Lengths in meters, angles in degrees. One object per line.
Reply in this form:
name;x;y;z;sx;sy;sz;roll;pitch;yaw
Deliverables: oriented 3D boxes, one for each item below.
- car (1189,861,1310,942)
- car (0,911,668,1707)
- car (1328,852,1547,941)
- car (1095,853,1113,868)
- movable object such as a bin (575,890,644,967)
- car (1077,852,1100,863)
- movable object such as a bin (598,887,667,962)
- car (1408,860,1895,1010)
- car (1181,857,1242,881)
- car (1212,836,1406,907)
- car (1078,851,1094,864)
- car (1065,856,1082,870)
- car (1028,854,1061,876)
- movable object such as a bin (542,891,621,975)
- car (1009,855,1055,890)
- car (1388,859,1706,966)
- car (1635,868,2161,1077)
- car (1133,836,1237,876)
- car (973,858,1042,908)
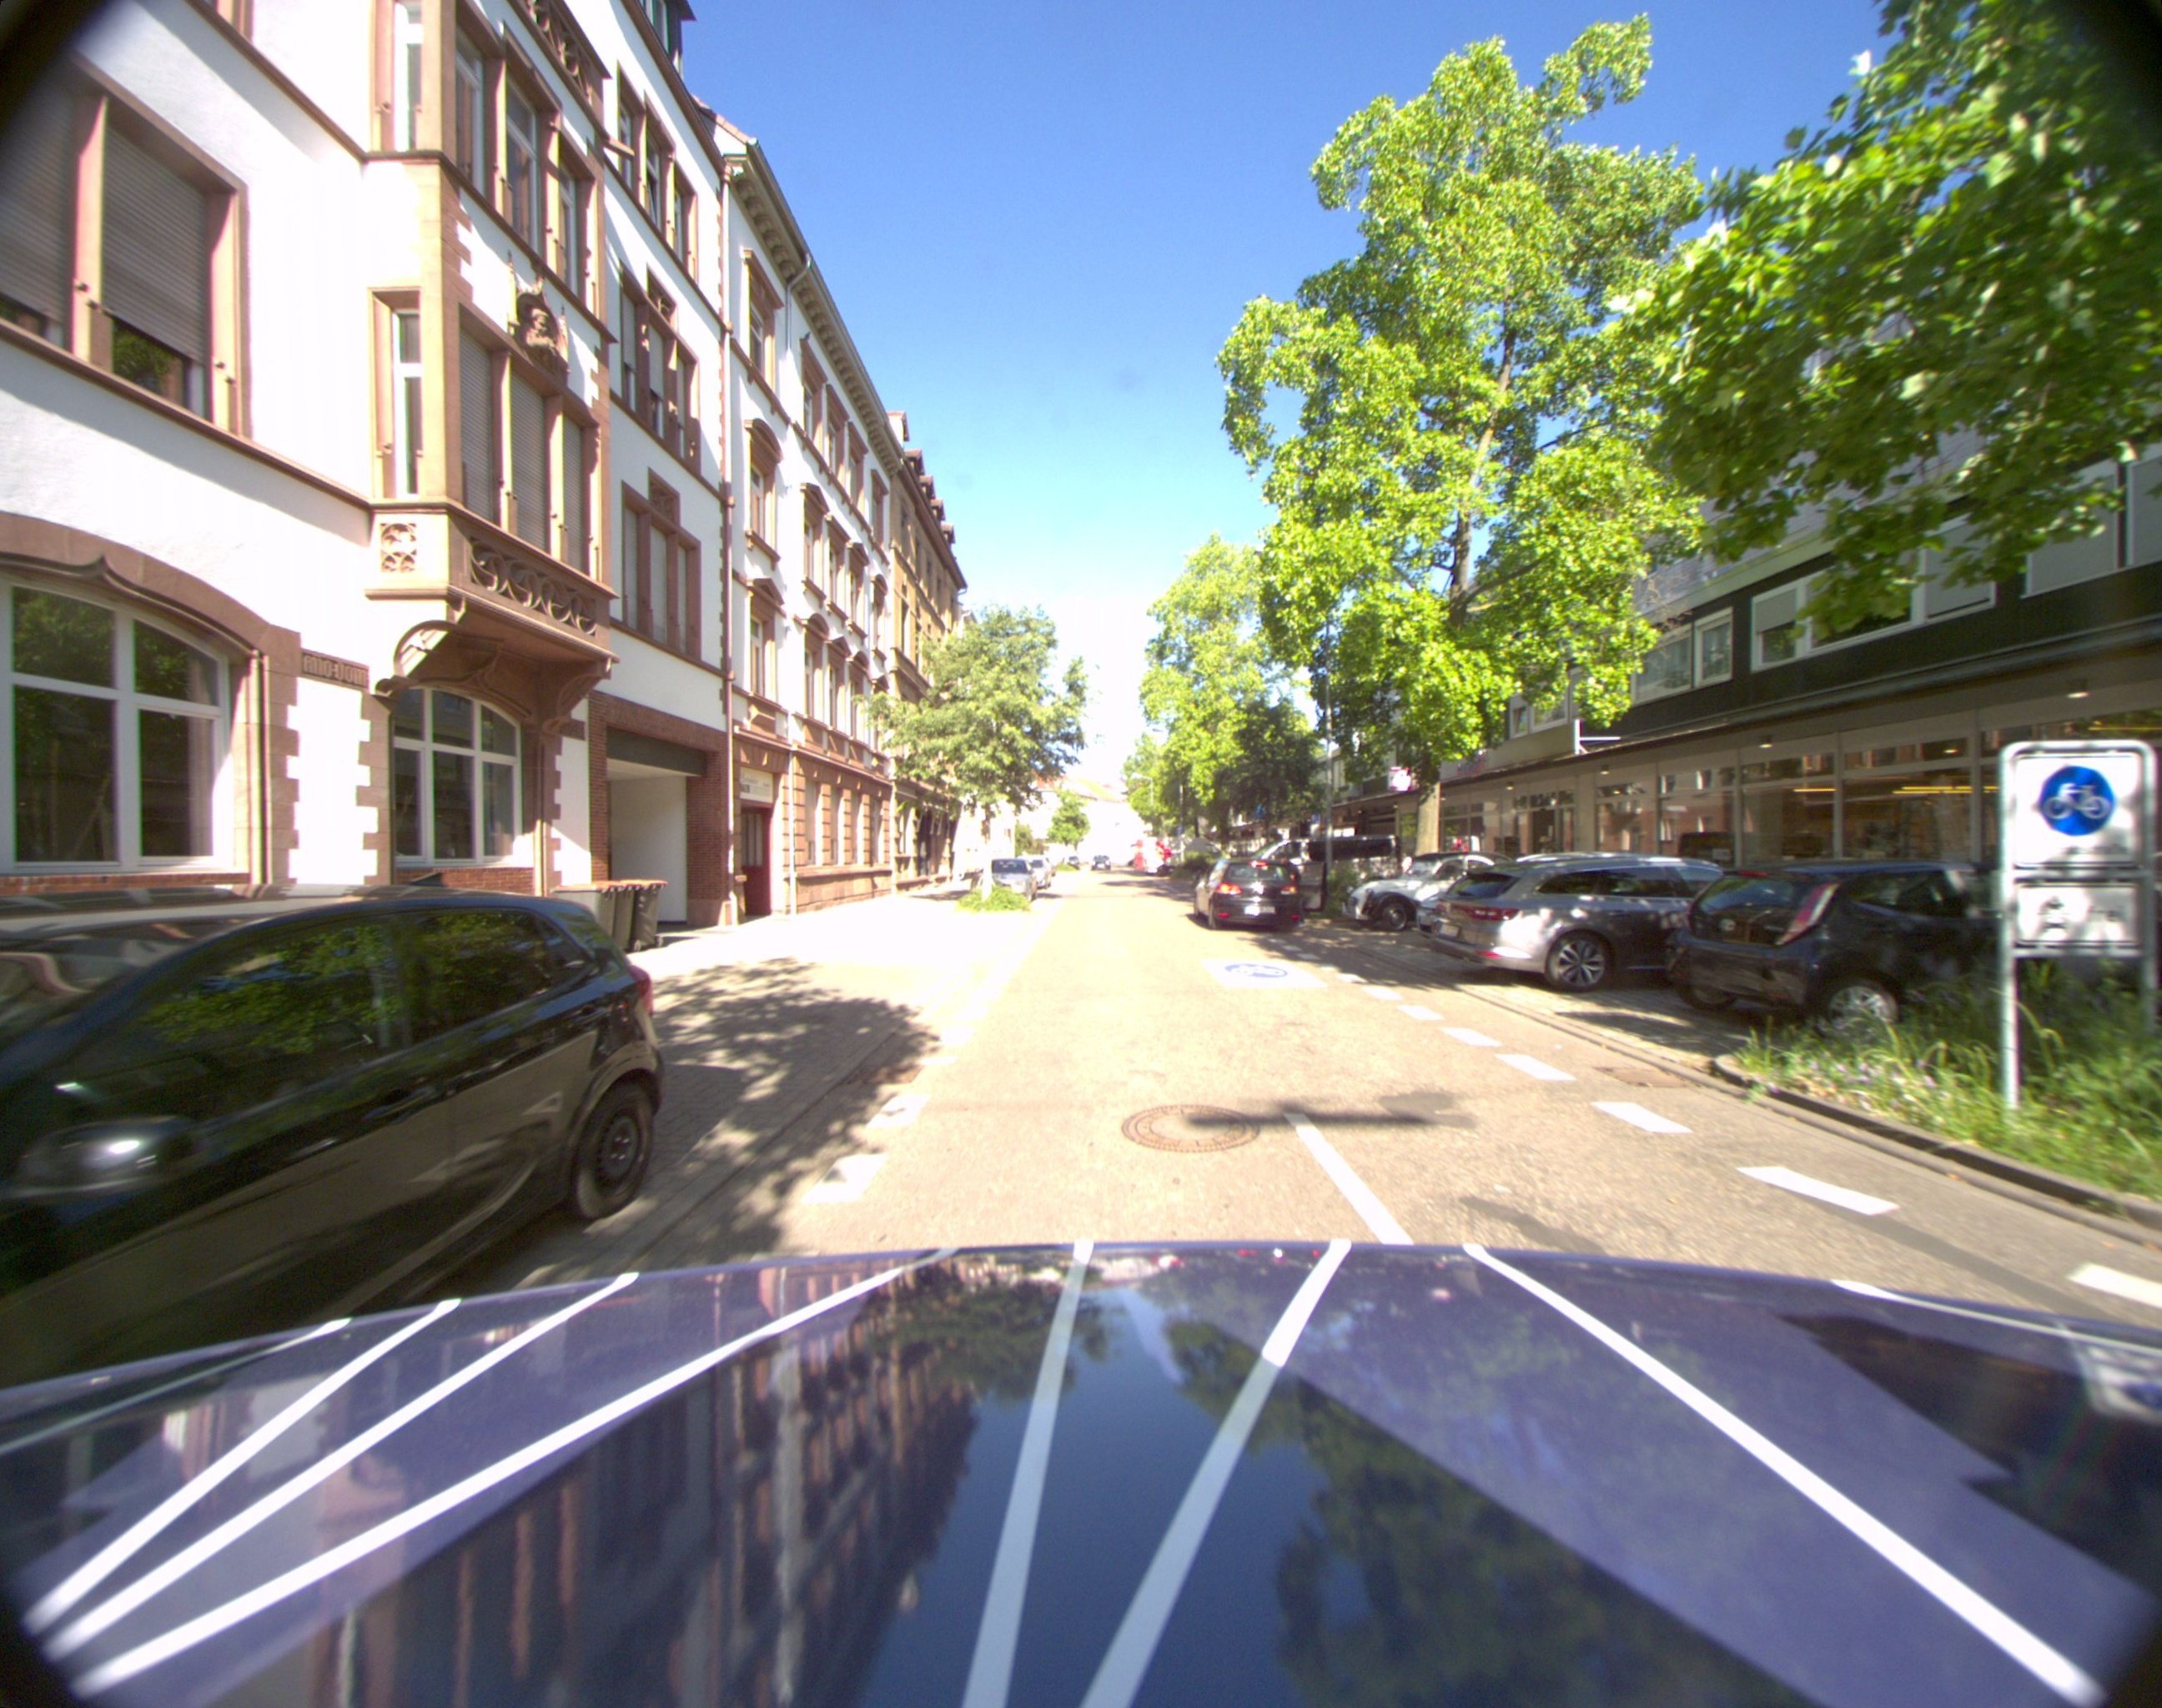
car;3.433;0.907;16.209;1.767;1.430;3.960;1;1;1
car;-2.798;1.016;1.861;1.640;1.467;3.579;0;0;0
car;7.011;0.777;15.087;3.610;1.543;1.682;-1;1;-10
car;2.244;0.605;74.609;1.612;1.444;3.295;0;0;0
movable object such as a bin;-6.743;1.055;10.892;0.639;1.063;0.521;0;1;1
car;1.267;0.575;126.352;1.908;1.924;4.818;0;0;28
movable object such as a bin;-6.742;1.050;11.454;0.639;1.063;0.639;0;1;1
car;6.398;0.879;8.947;4.315;1.451;1.762;-2;0;3
car;8.246;0.961;48.299;3.603;1.412;1.831;-1;0;1
car;6.852;0.518;23.266;5.305;1.963;2.015;-1;0;1
car;0.655;0.445;94.386;1.861;1.499;4.000;-1;0;1
car;-0.836;0.966;84.248;1.720;1.445;4.000;0;1;2
car;-2.440;0.714;52.076;1.790;1.451;4.517;1;0;3
movable object such as a bin;-6.755;1.057;10.298;0.639;1.063;0.632;0;1;1
car;-2.156;0.783;34.126;1.743;1.443;4.000;0;0;1
car;7.270;0.856;12.119;3.998;1.455;1.812;-1;0;-4
car;7.495;0.904;6.463;4.315;1.425;1.644;-1;1;1
car;6.924;0.104;50.442;6.609;2.459;1.996;-1;1;-20
car;-2.283;0.872;24.506;1.743;1.443;4.307;0;0;1
